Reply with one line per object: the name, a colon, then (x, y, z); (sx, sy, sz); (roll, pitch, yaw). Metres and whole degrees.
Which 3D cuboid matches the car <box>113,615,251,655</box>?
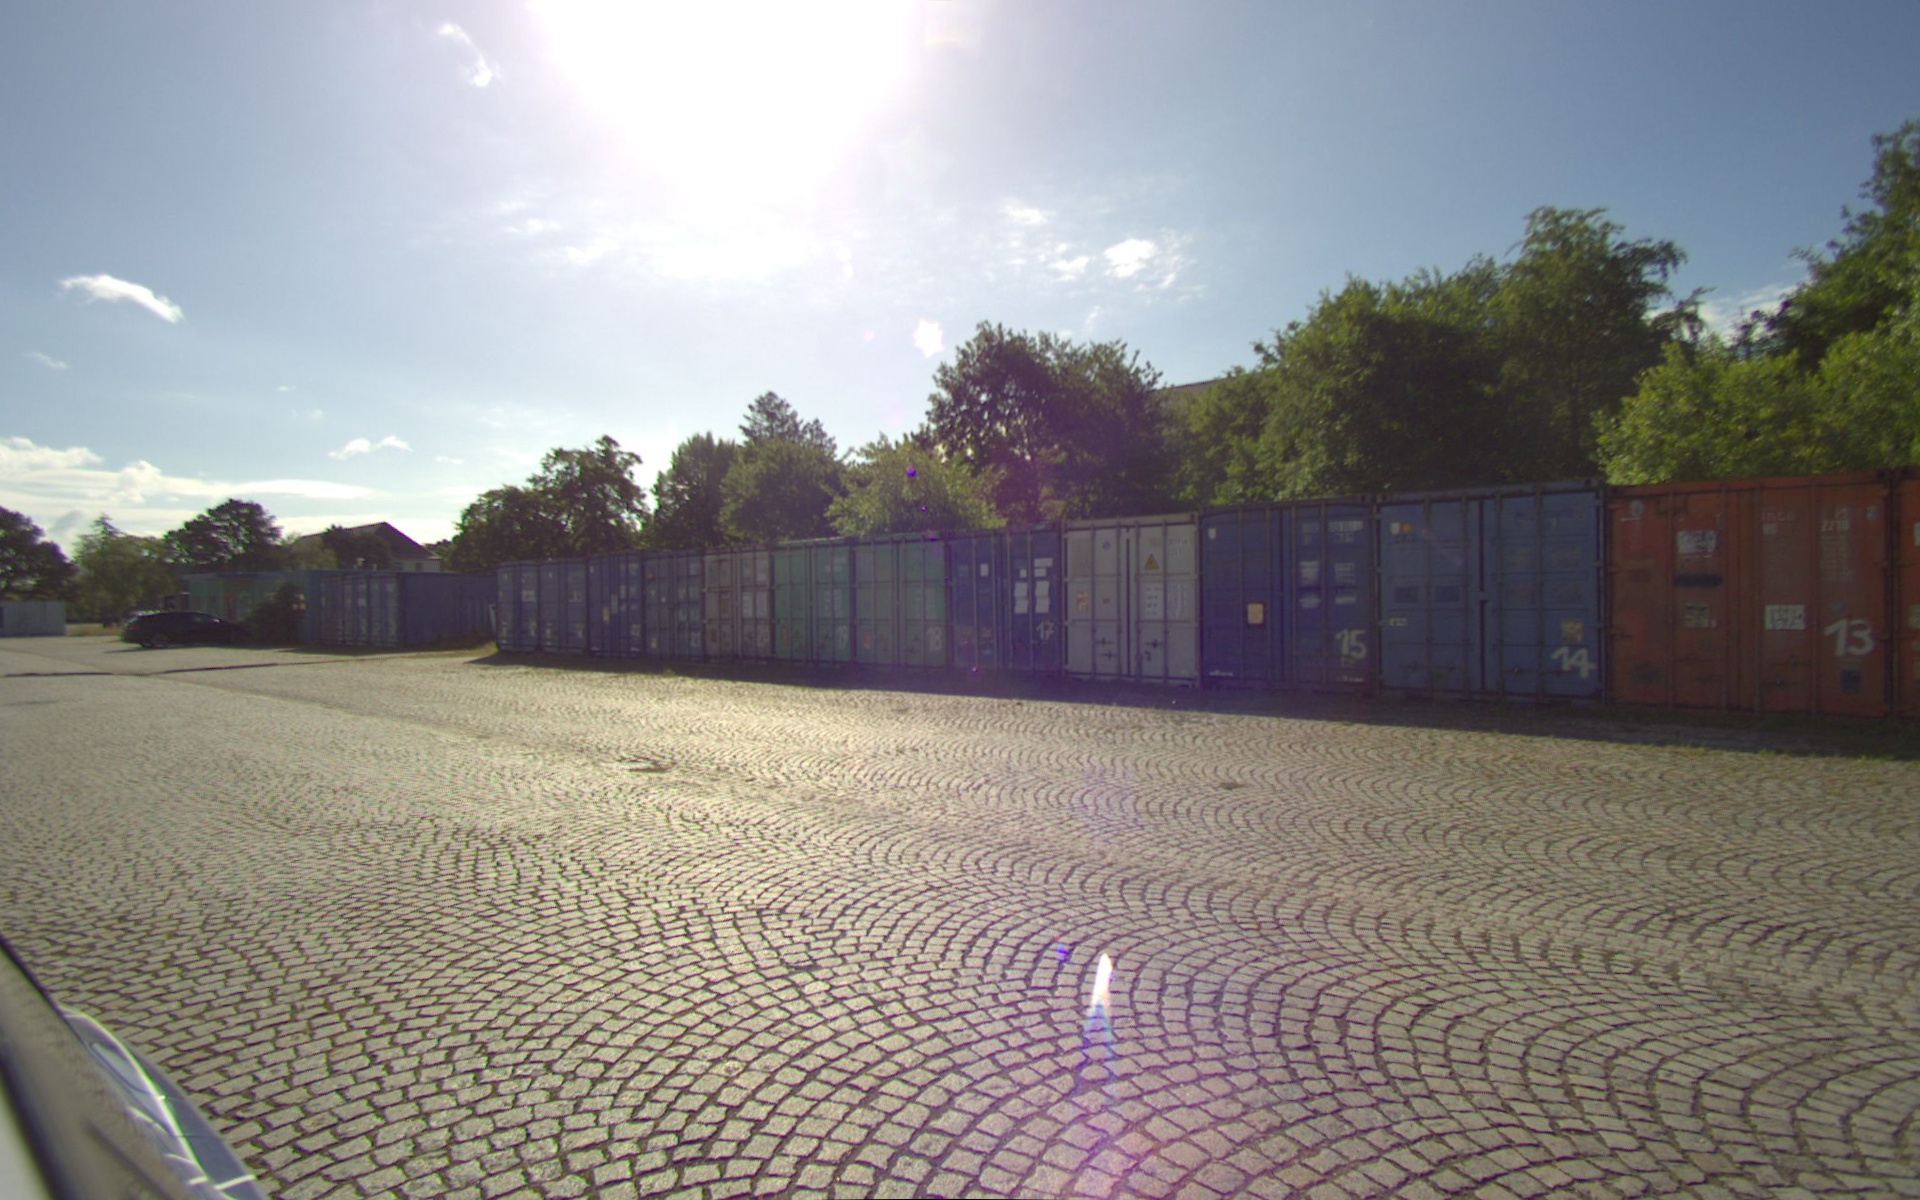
car: (-31.389, 1.377, 40.908); (1.998, 1.306, 4.062); (-1, 2, 39)
